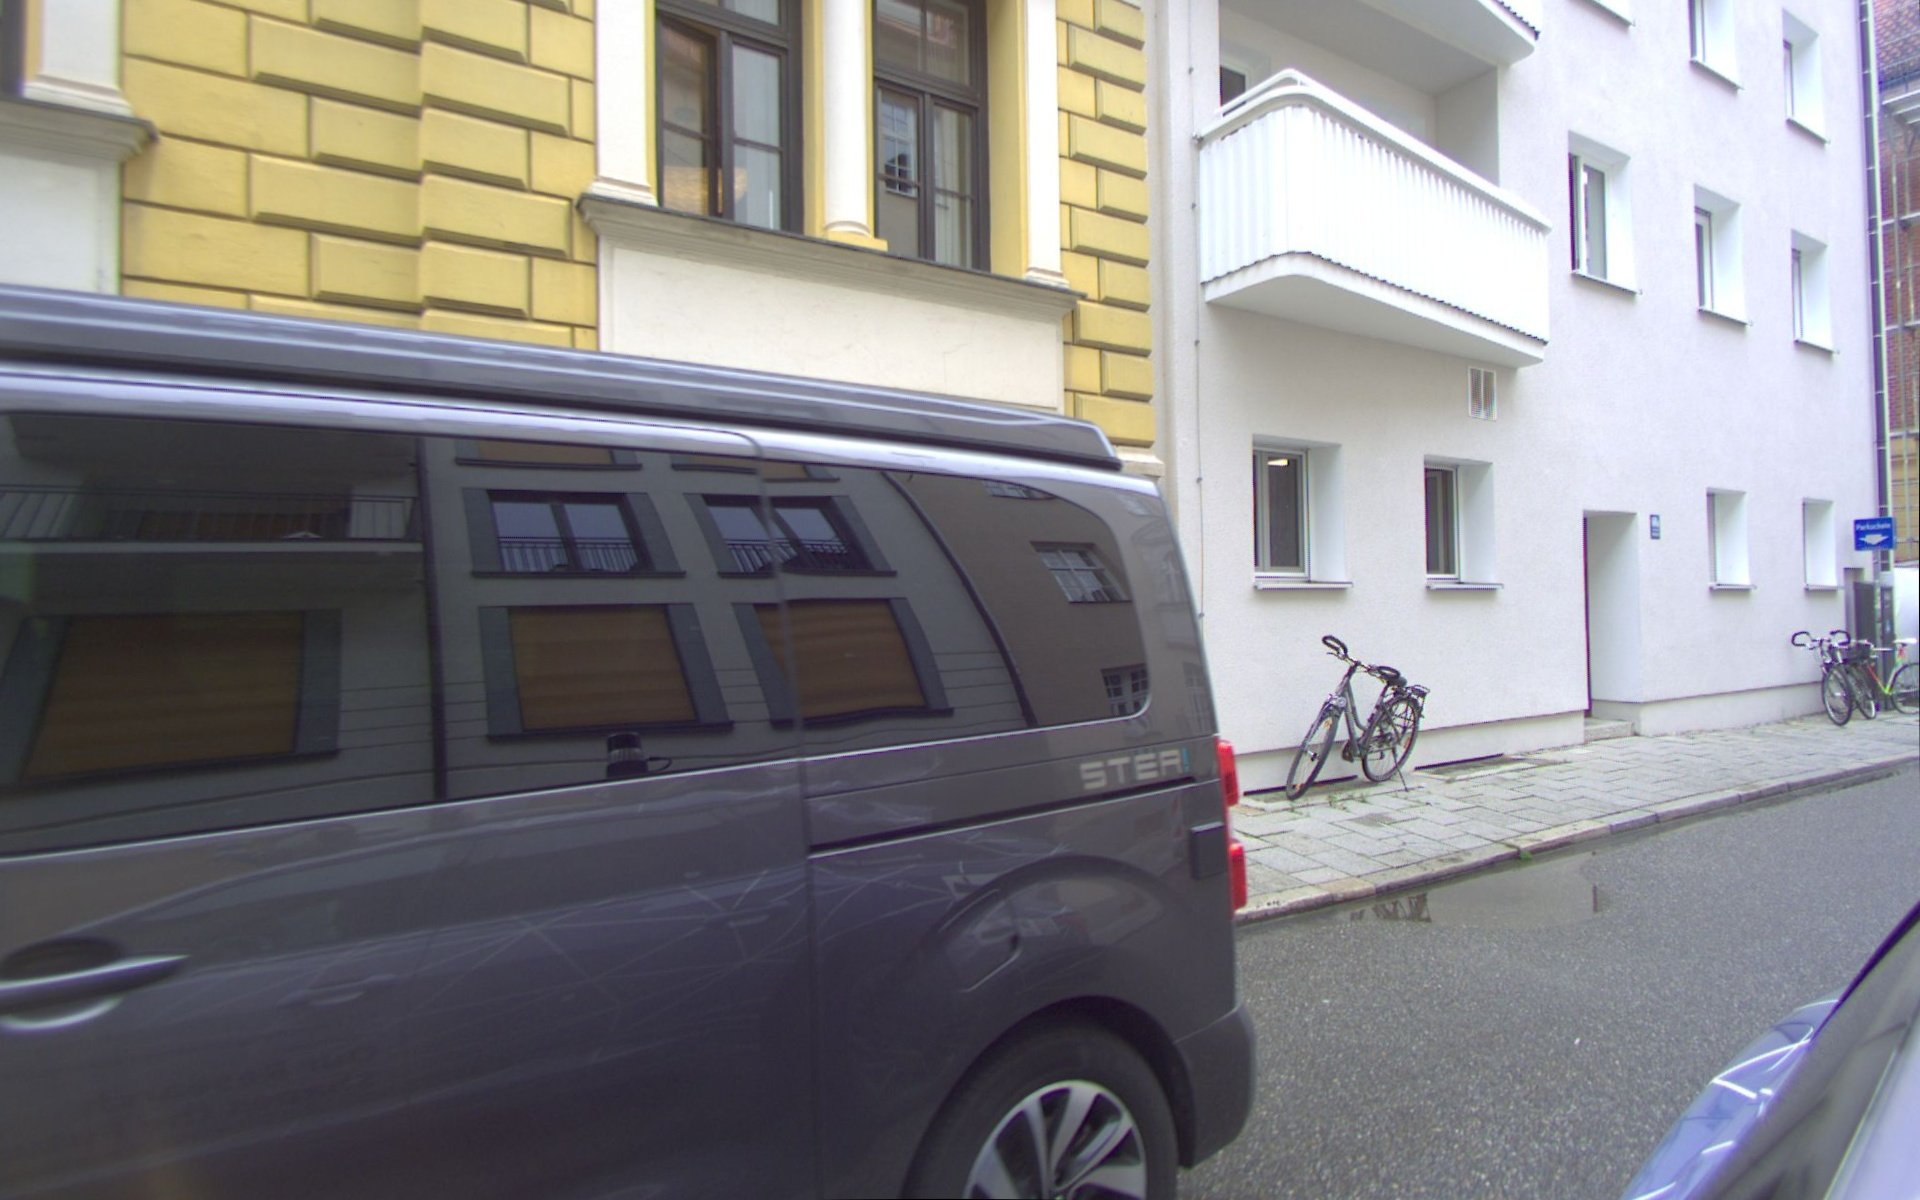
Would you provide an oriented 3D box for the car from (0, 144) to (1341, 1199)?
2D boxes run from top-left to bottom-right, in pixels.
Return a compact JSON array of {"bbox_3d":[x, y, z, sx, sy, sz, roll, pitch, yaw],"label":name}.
[{"bbox_3d":[-1.626,0.509,1.932,4.569,1.957,2.000,0,-3,-33],"label":"car"}]

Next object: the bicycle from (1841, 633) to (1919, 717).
[{"bbox_3d":[11.773,0.932,12.788,1.403,1.004,0.282,0,1,-19],"label":"bicycle"}]

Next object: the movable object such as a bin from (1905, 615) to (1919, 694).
[{"bbox_3d":[14.272,0.802,14.223,0.773,1.109,1.217,0,2,-23],"label":"movable object such as a bin"}]

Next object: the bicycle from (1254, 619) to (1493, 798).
[{"bbox_3d":[3.104,0.744,7.537,1.877,1.167,0.641,0,0,-31],"label":"bicycle"}]

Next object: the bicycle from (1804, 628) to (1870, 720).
[{"bbox_3d":[10.587,0.868,12.209,1.306,1.004,0.405,-1,2,-41],"label":"bicycle"}]
